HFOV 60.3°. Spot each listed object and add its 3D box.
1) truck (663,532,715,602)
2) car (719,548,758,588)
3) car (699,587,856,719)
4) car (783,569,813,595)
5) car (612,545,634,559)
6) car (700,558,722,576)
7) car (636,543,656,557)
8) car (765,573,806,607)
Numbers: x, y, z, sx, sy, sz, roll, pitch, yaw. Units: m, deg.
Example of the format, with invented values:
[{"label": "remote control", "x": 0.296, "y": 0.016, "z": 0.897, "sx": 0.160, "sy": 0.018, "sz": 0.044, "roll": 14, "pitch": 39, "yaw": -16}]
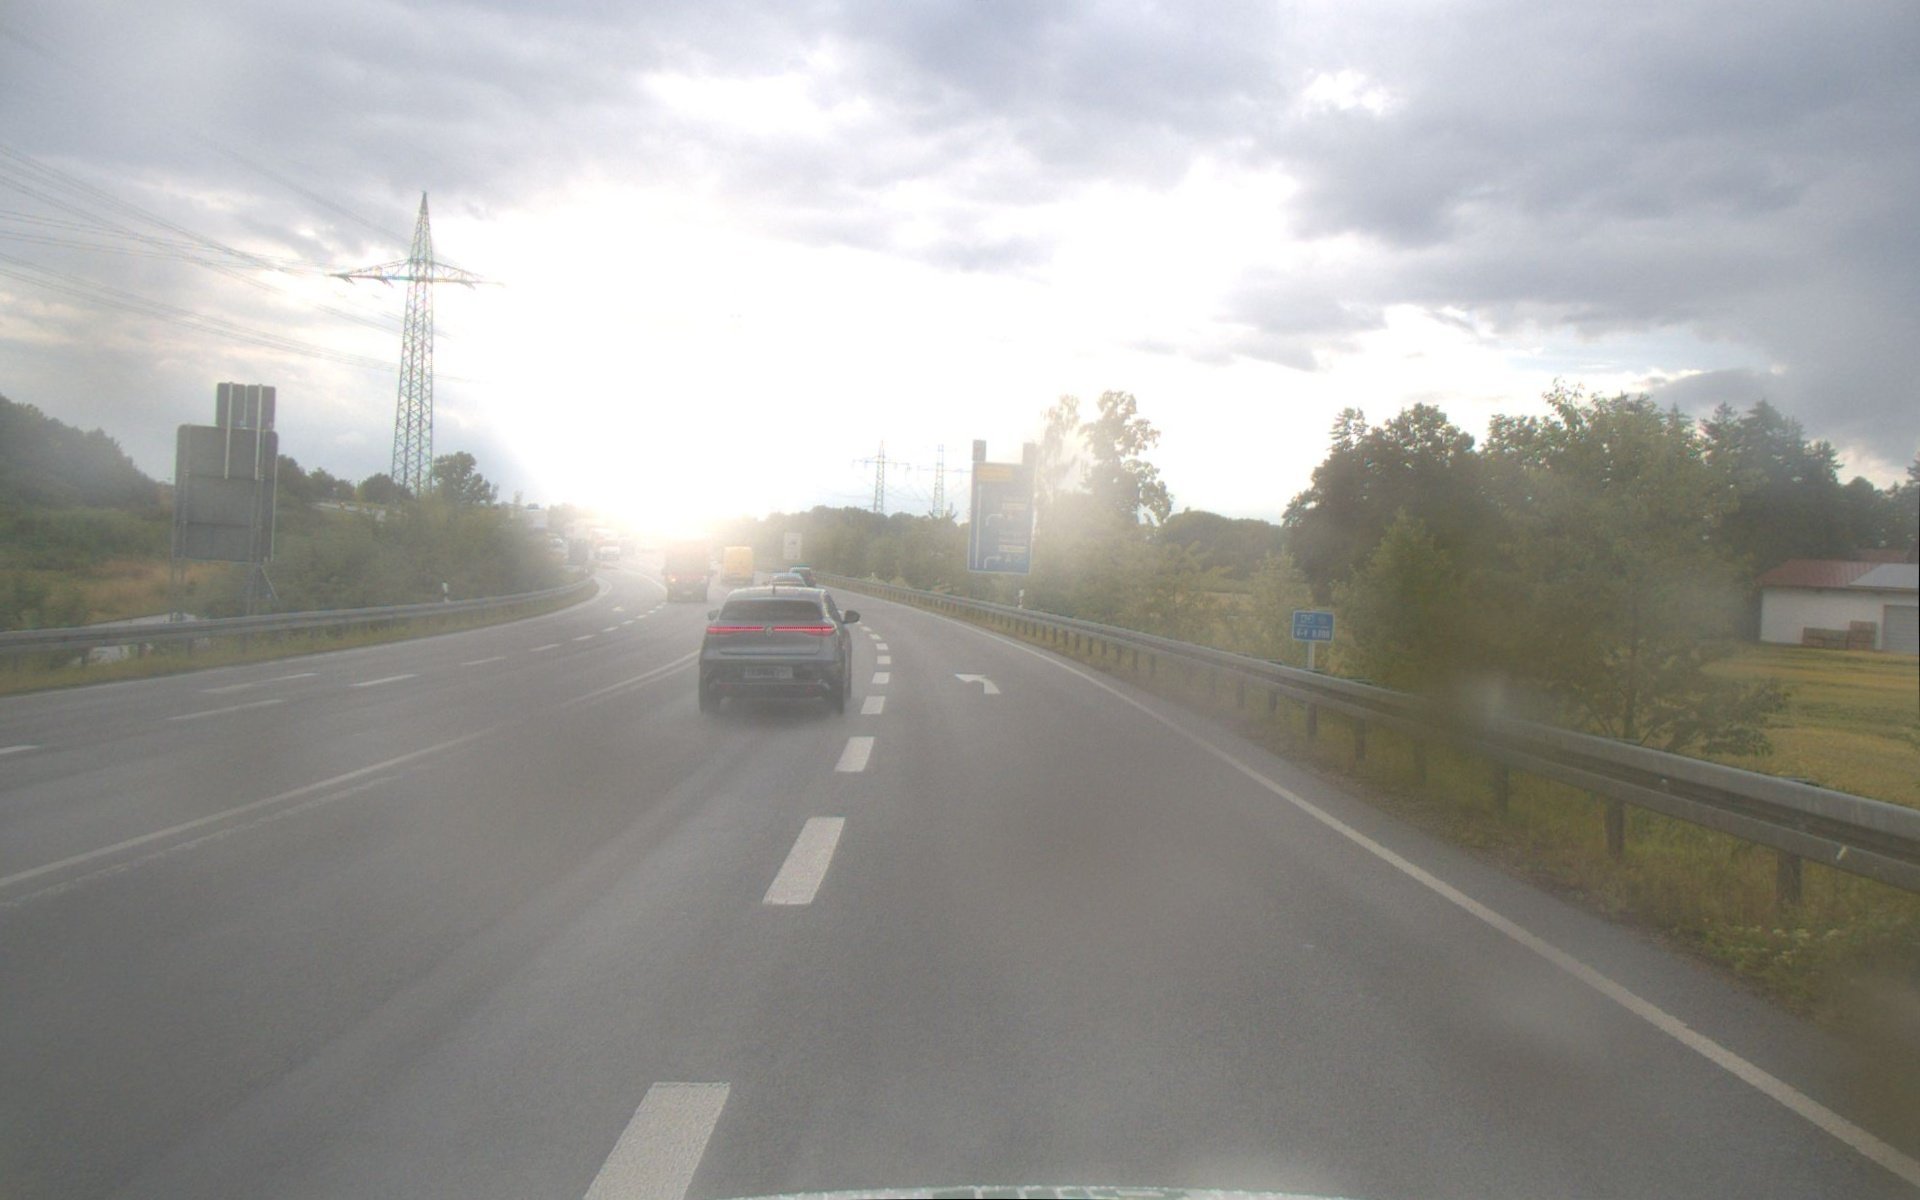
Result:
[{"label": "truck", "x": -13.703, "y": -1.698, "z": 84.026, "sx": 2.434, "sy": 3.349, "sz": 7.267, "roll": -1, "pitch": 1, "yaw": -8}, {"label": "car", "x": -15.661, "y": -2.285, "z": 117.348, "sx": 2.523, "sy": 2.773, "sz": 7.187, "roll": 0, "pitch": 1, "yaw": -6}, {"label": "car", "x": -2.228, "y": 0.600, "z": 21.071, "sx": 1.756, "sy": 1.466, "sz": 3.997, "roll": 2, "pitch": 1, "yaw": -4}, {"label": "car", "x": -9.861, "y": -1.112, "z": 101.028, "sx": 1.756, "sy": 1.568, "sz": 3.996, "roll": 0, "pitch": 1, "yaw": -5}, {"label": "car", "x": -38.718, "y": -5.512, "z": 190.084, "sx": 1.765, "sy": 1.466, "sz": 3.977, "roll": 4, "pitch": 0, "yaw": -20}, {"label": "car", "x": -21.272, "y": -2.798, "z": 141.395, "sx": 1.759, "sy": 1.466, "sz": 3.991, "roll": -1, "pitch": 1, "yaw": -10}, {"label": "car", "x": -37.971, "y": -6.019, "z": 199.650, "sx": 1.772, "sy": 1.602, "sz": 4.238, "roll": 3, "pitch": 1, "yaw": -18}, {"label": "car", "x": -7.945, "y": -0.483, "z": 75.209, "sx": 1.757, "sy": 1.466, "sz": 3.994, "roll": 1, "pitch": 1, "yaw": -7}]
